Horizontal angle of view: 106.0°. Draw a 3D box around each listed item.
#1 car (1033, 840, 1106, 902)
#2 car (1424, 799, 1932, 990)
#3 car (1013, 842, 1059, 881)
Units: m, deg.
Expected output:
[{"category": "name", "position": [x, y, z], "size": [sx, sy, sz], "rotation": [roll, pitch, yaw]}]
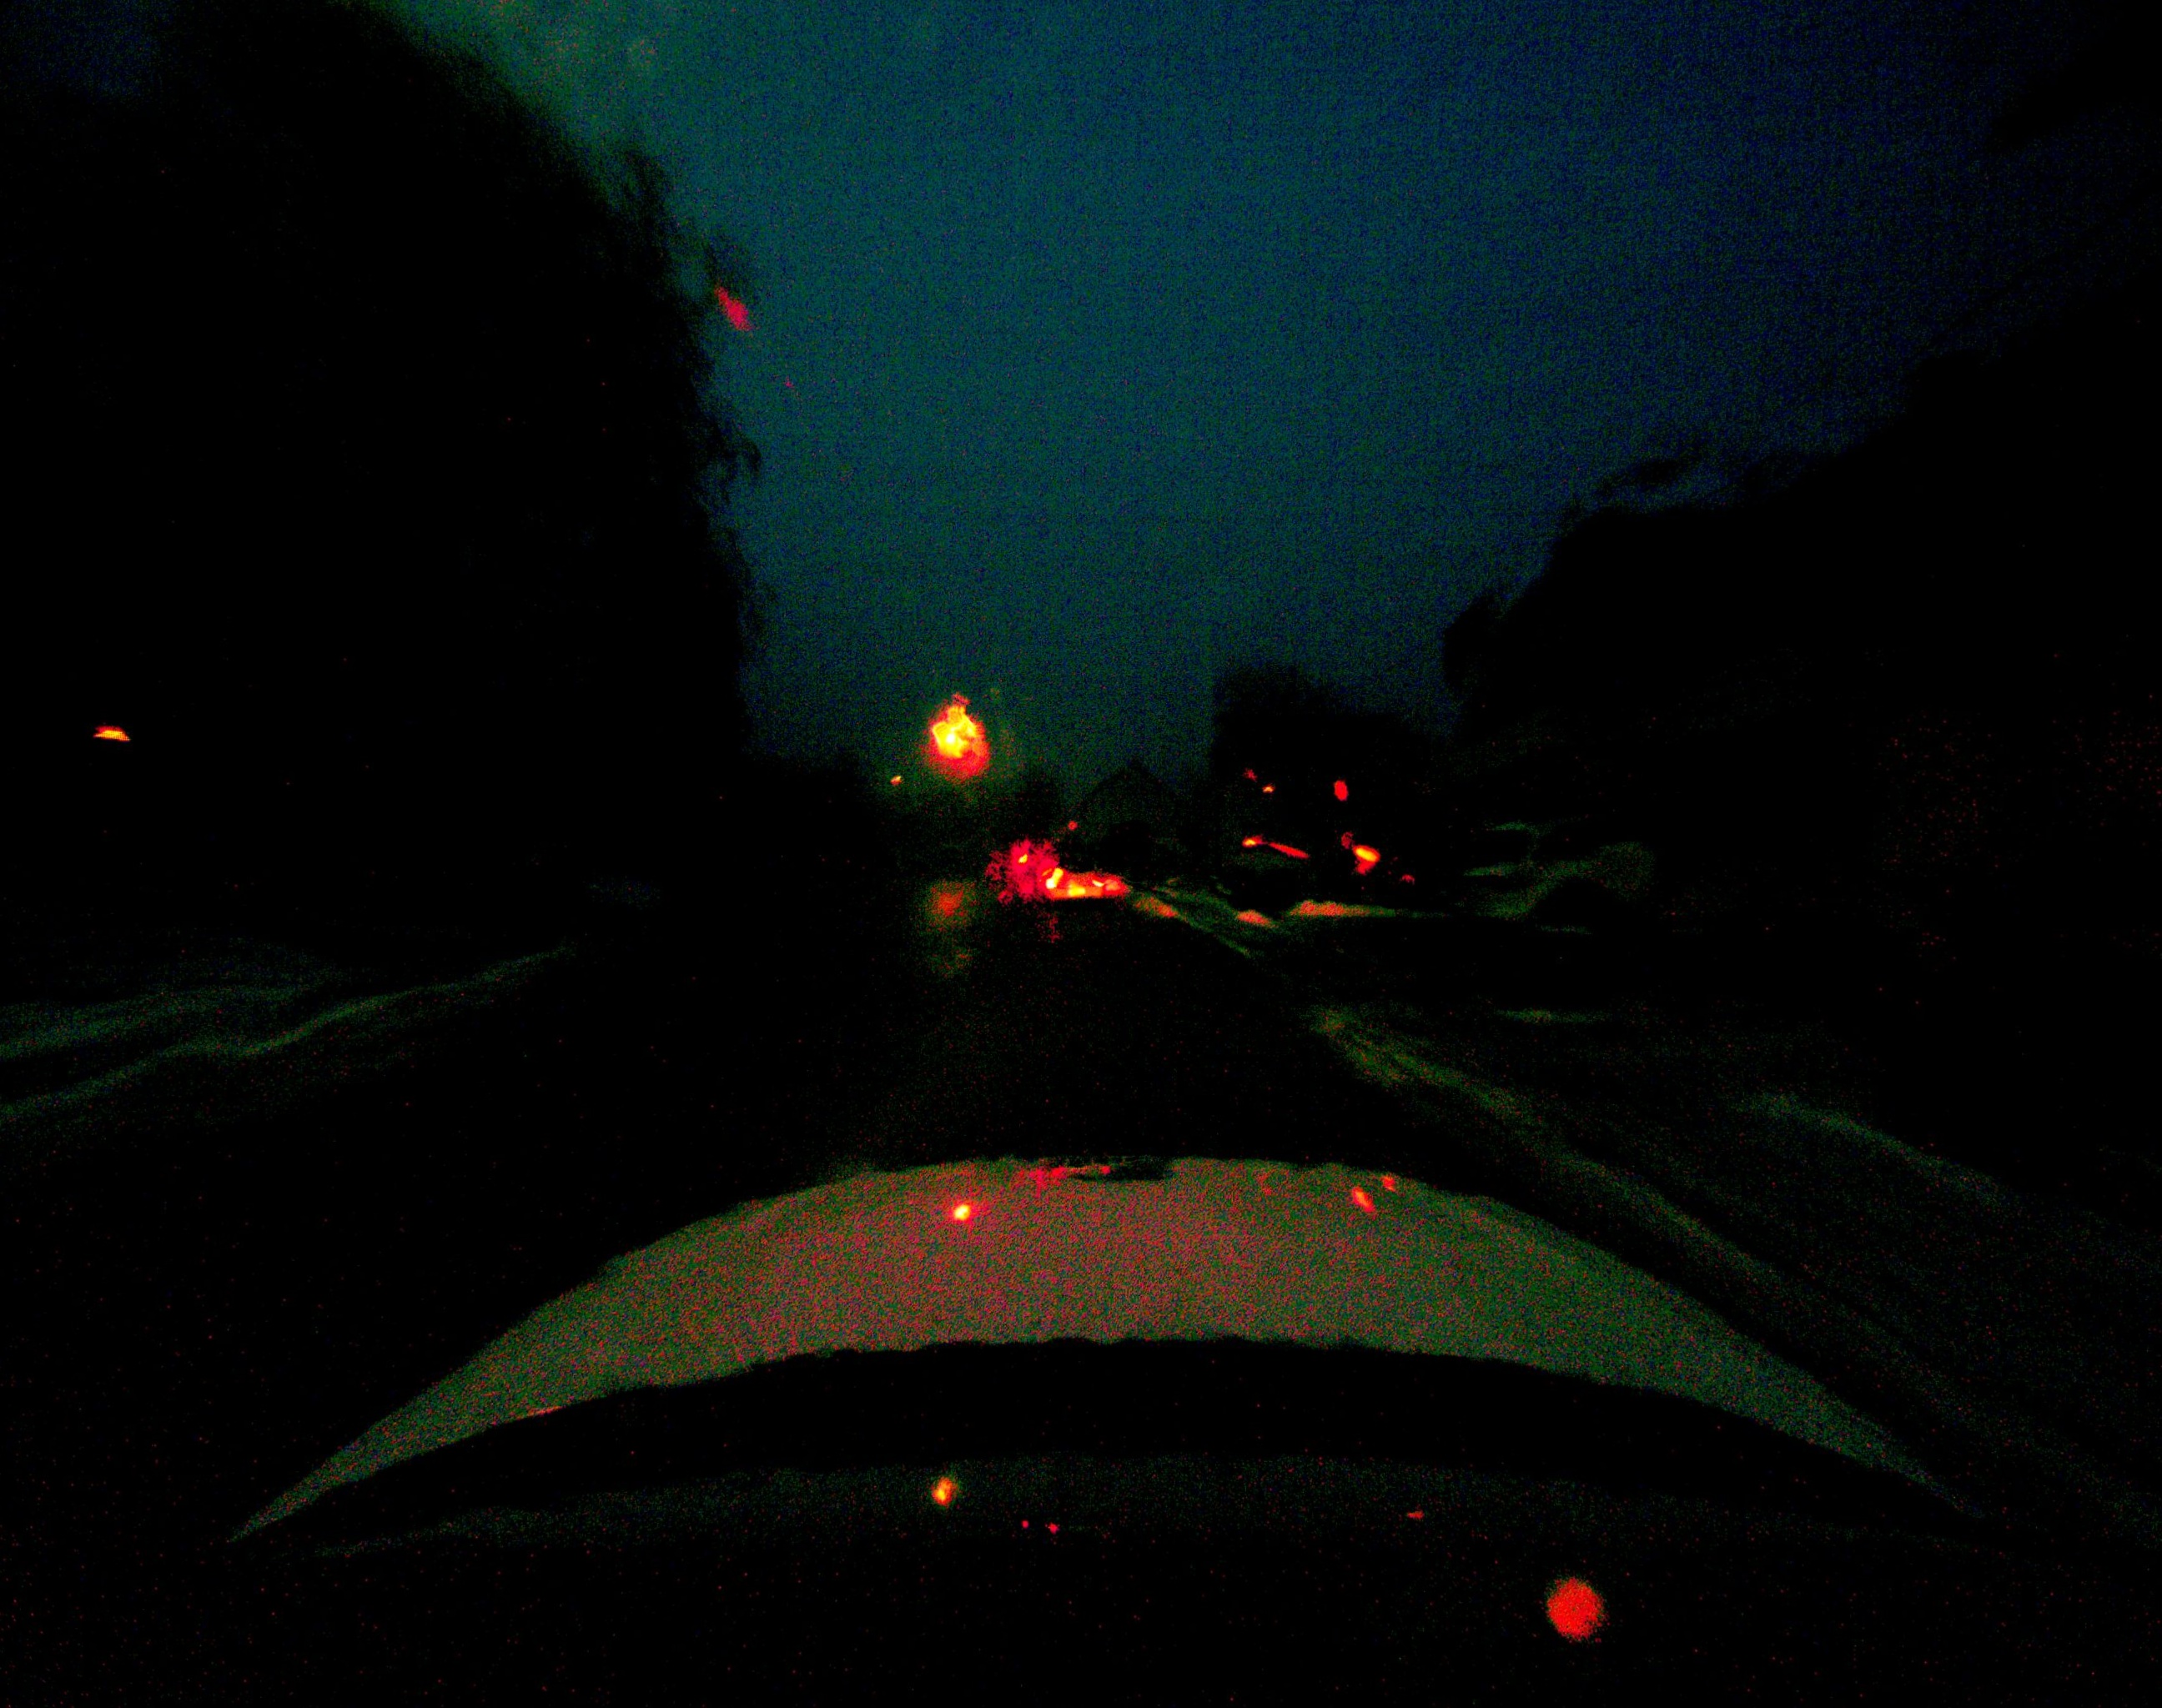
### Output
[{"category": "car", "position": [-0.346, 0.464, 23.305], "size": [1.892, 1.609, 3.998], "rotation": [-1, 0, -1]}, {"category": "car", "position": [6.315, 0.431, 9.138], "size": [4.182, 1.858, 1.915], "rotation": [-1, -1, 7]}, {"category": "car", "position": [-2.141, 0.344, 37.935], "size": [1.990, 1.737, 3.871], "rotation": [-1, -1, -5]}]
